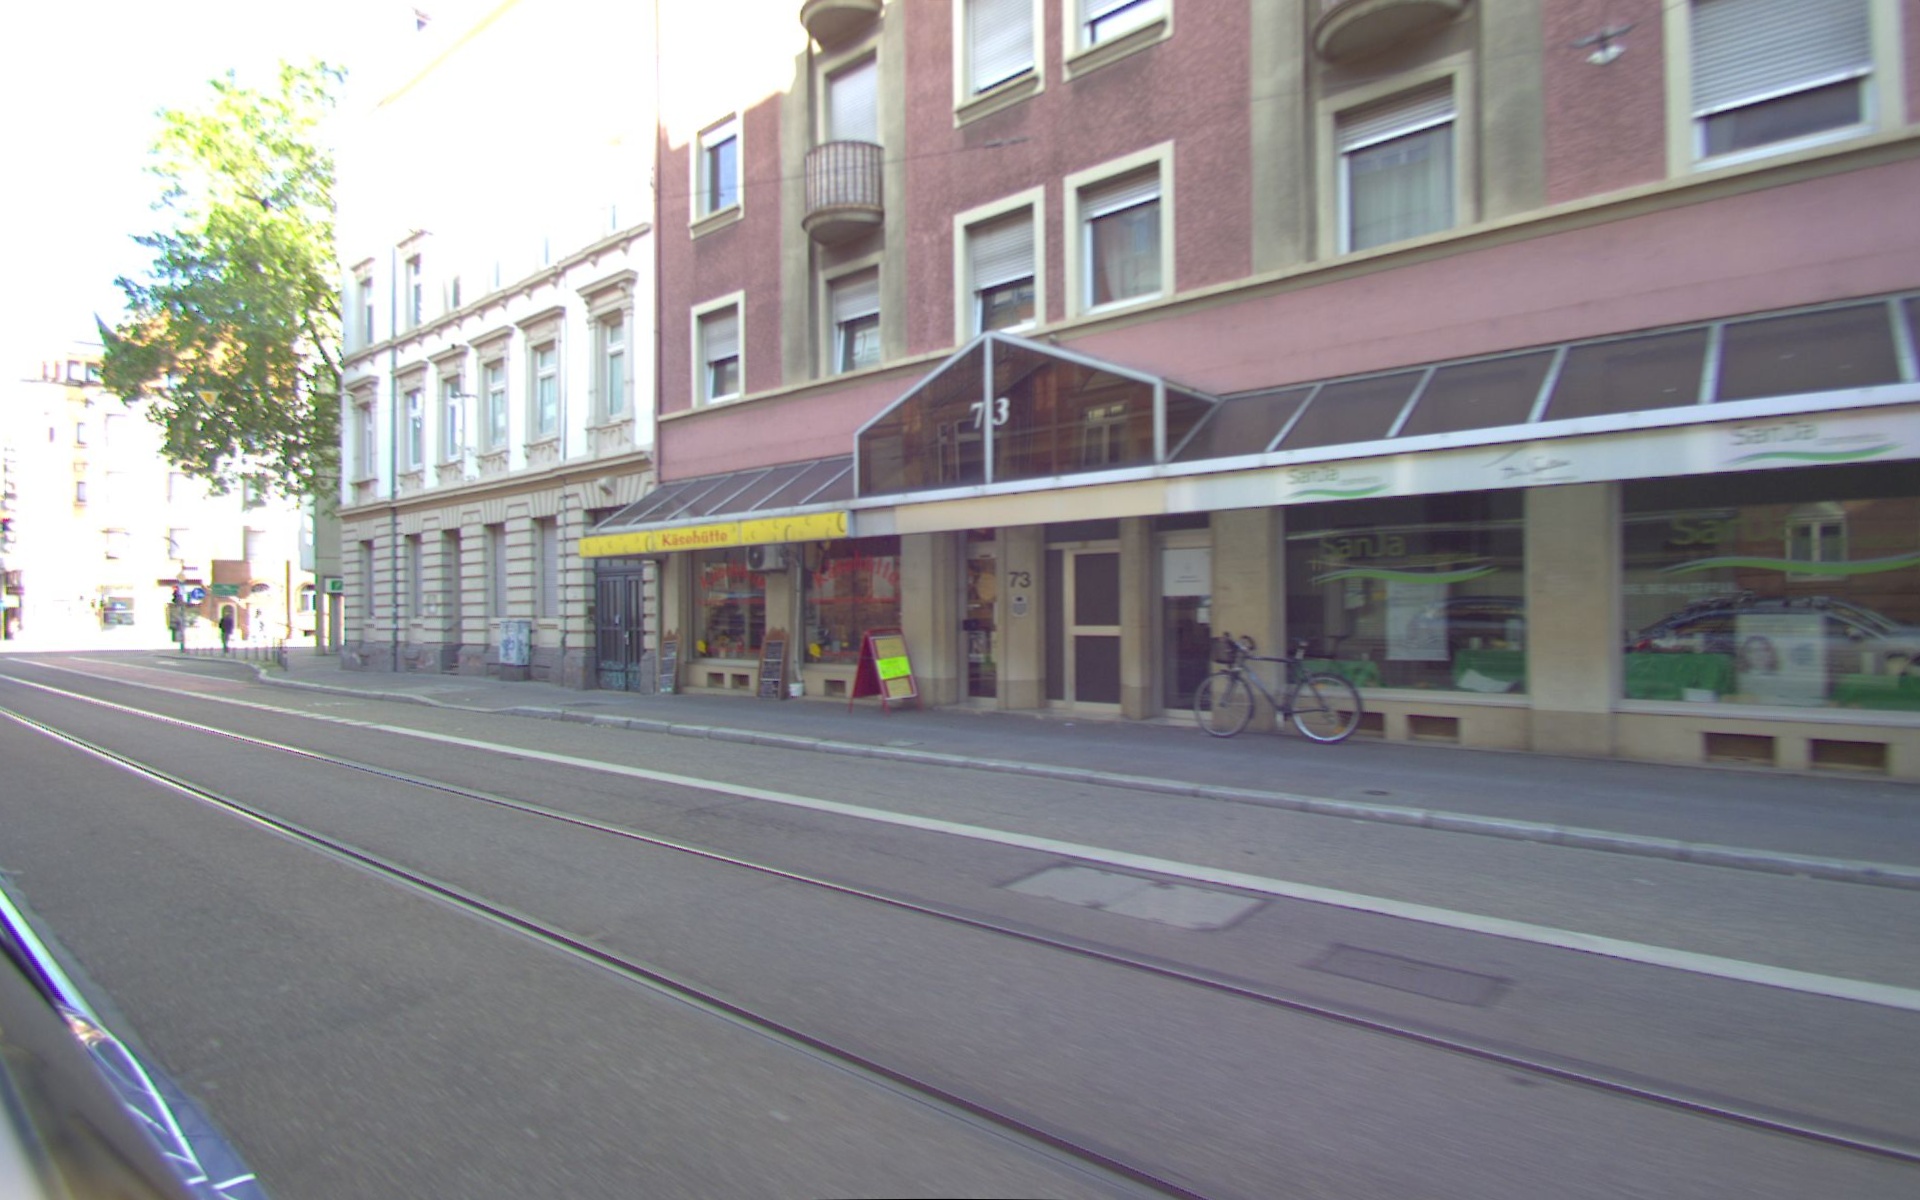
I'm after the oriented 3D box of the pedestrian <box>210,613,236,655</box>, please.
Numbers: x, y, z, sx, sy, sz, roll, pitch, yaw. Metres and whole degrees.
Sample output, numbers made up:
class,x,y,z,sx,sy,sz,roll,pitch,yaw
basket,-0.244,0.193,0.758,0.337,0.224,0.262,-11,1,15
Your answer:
class,x,y,z,sx,sy,sz,roll,pitch,yaw
pedestrian,-33.103,1.504,45.471,0.809,1.861,0.784,-1,0,43

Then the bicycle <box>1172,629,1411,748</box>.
class,x,y,z,sx,sy,sz,roll,pitch,yaw
bicycle,3.319,0.852,10.343,2.328,1.067,0.420,-1,0,41
